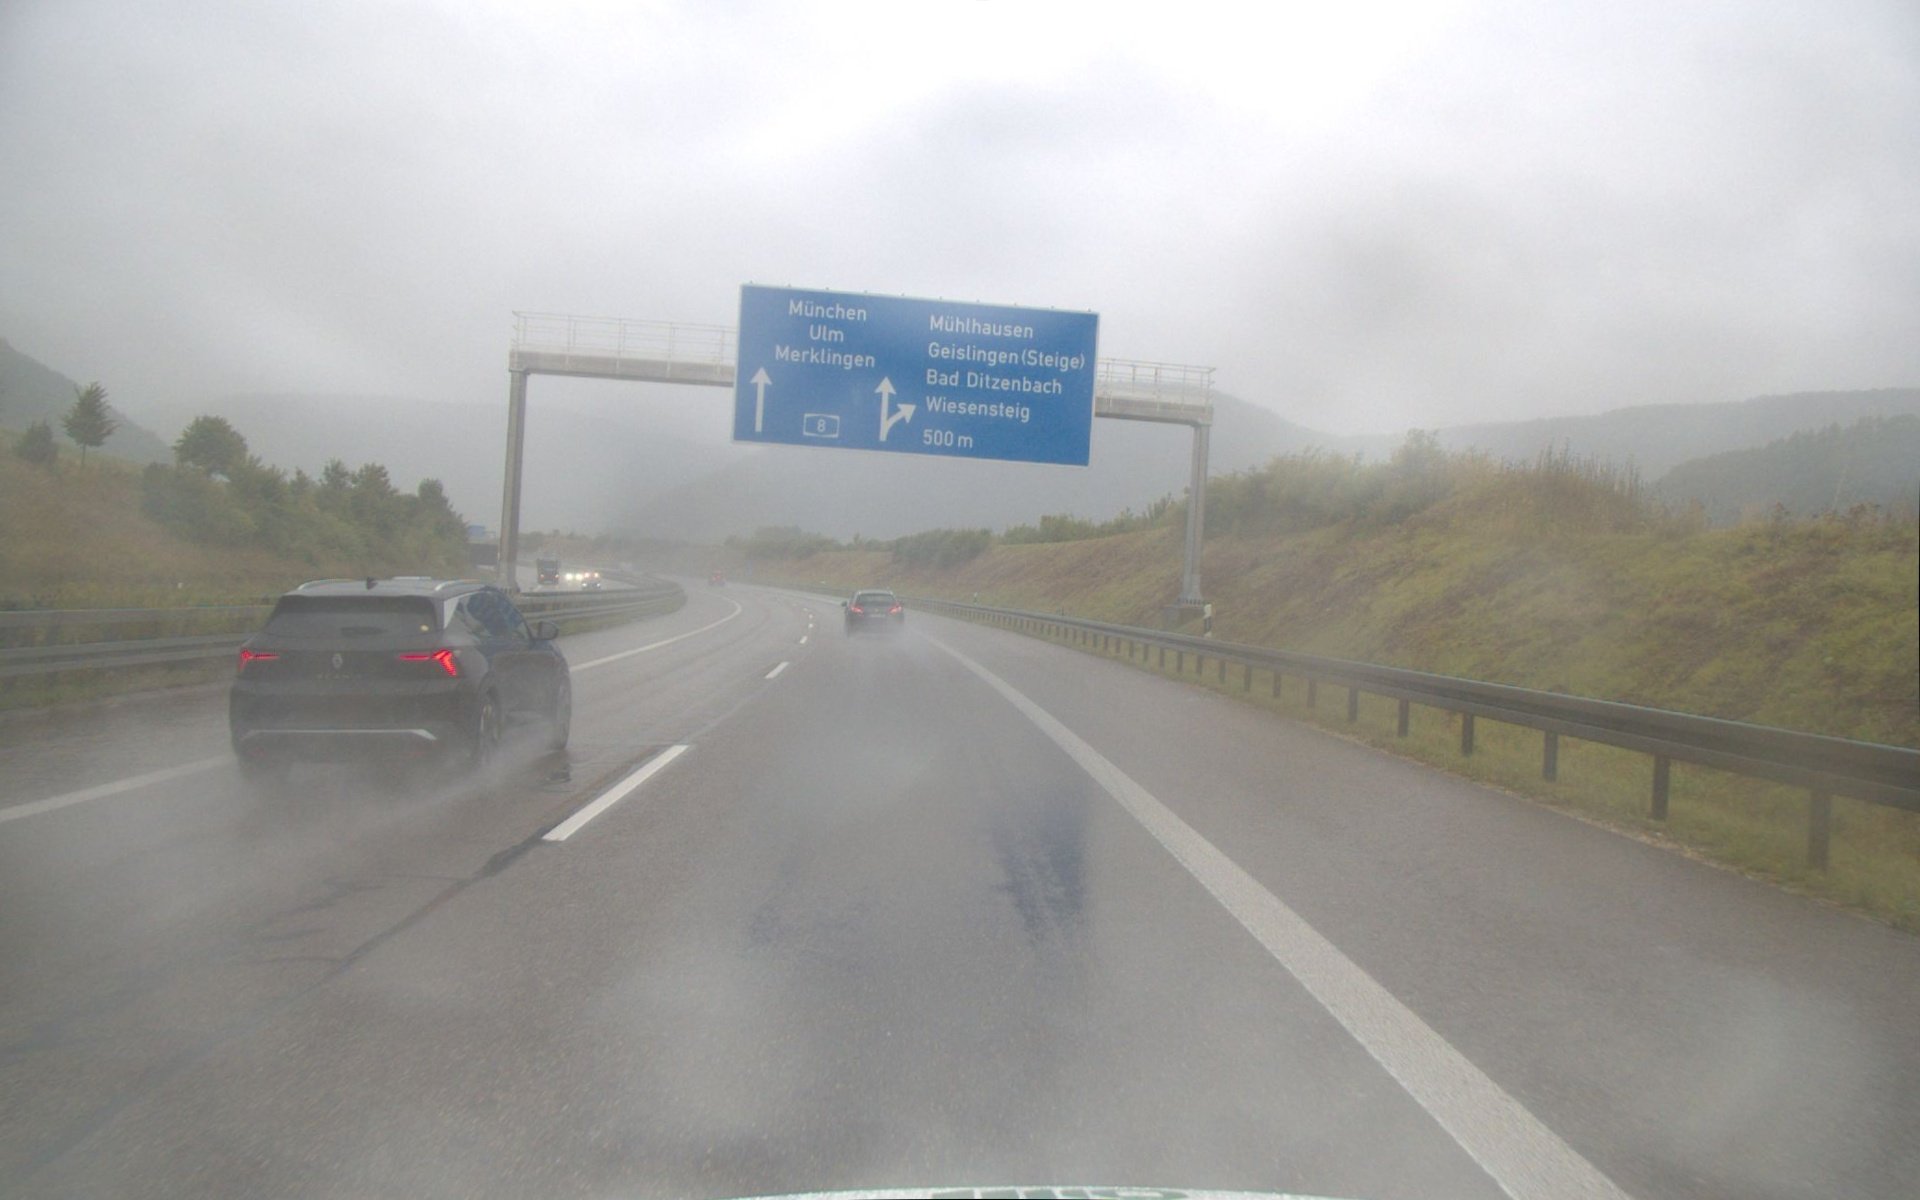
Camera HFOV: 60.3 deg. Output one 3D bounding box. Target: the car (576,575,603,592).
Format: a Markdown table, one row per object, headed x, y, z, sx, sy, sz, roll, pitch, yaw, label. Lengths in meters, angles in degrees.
| x | y | z | sx | sy | sz | roll | pitch | yaw | label |
| --- | --- | --- | --- | --- | --- | --- | --- | --- | --- |
| -37.155 | -1.613 | 166.115 | 1.954 | 1.545 | 3.997 | 3 | 0 | -4 | car |

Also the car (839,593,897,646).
| x | y | z | sx | sy | sz | roll | pitch | yaw | label |
| --- | --- | --- | --- | --- | --- | --- | --- | --- | --- |
| -2.798 | 0.574 | 50.991 | 1.645 | 1.498 | 3.813 | 2 | 0 | -2 | car |

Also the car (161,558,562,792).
| x | y | z | sx | sy | sz | roll | pitch | yaw | label |
| --- | --- | --- | --- | --- | --- | --- | --- | --- | --- |
| -4.609 | 0.509 | 13.601 | 2.363 | 1.542 | 4.770 | 2 | 0 | -12 | car |
